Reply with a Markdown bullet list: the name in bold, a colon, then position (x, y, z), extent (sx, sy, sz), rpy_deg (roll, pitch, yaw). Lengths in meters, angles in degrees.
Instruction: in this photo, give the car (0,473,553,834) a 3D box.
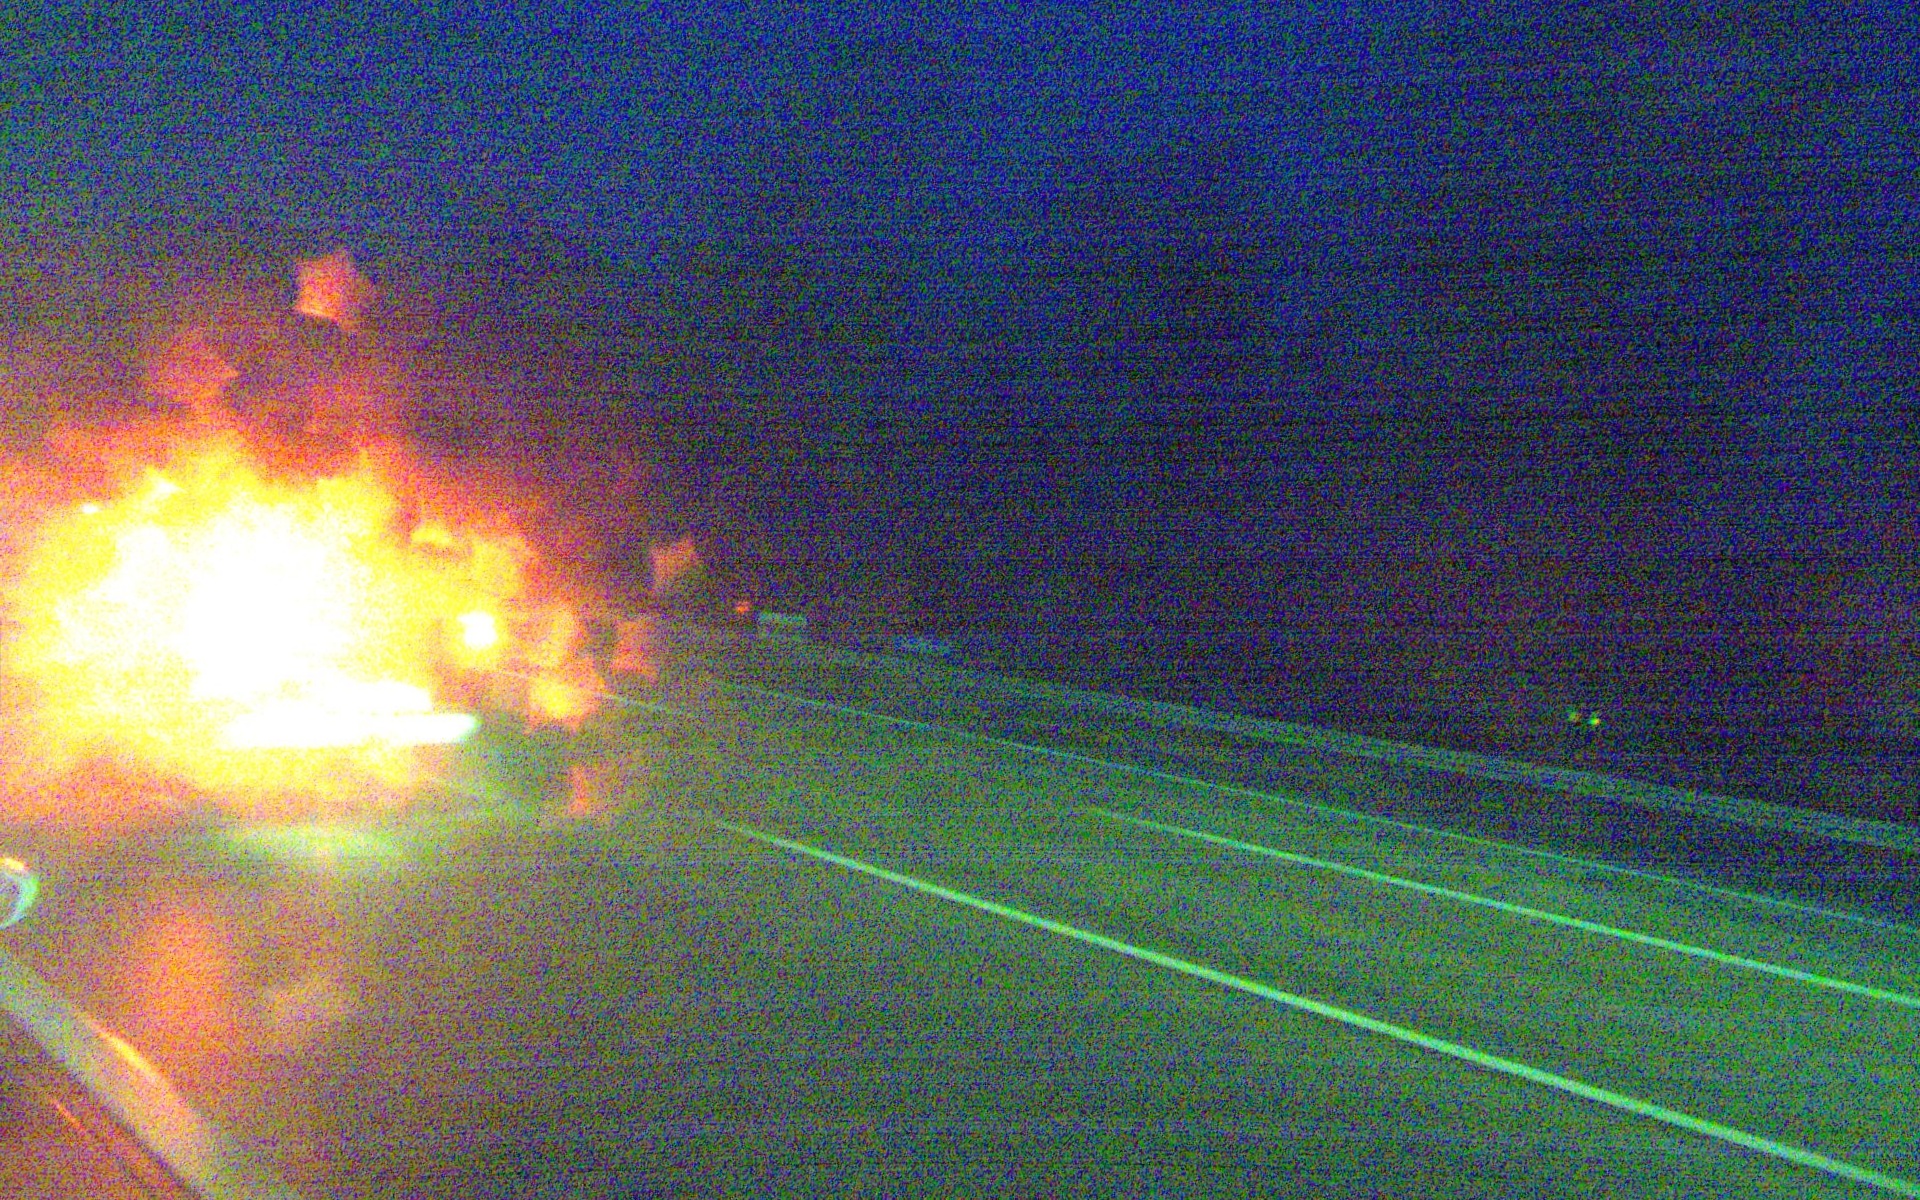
- **car**: position (-4.827, 0.198, 6.613), extent (3.934, 1.607, 1.888), rpy_deg (7, -1, 32)
